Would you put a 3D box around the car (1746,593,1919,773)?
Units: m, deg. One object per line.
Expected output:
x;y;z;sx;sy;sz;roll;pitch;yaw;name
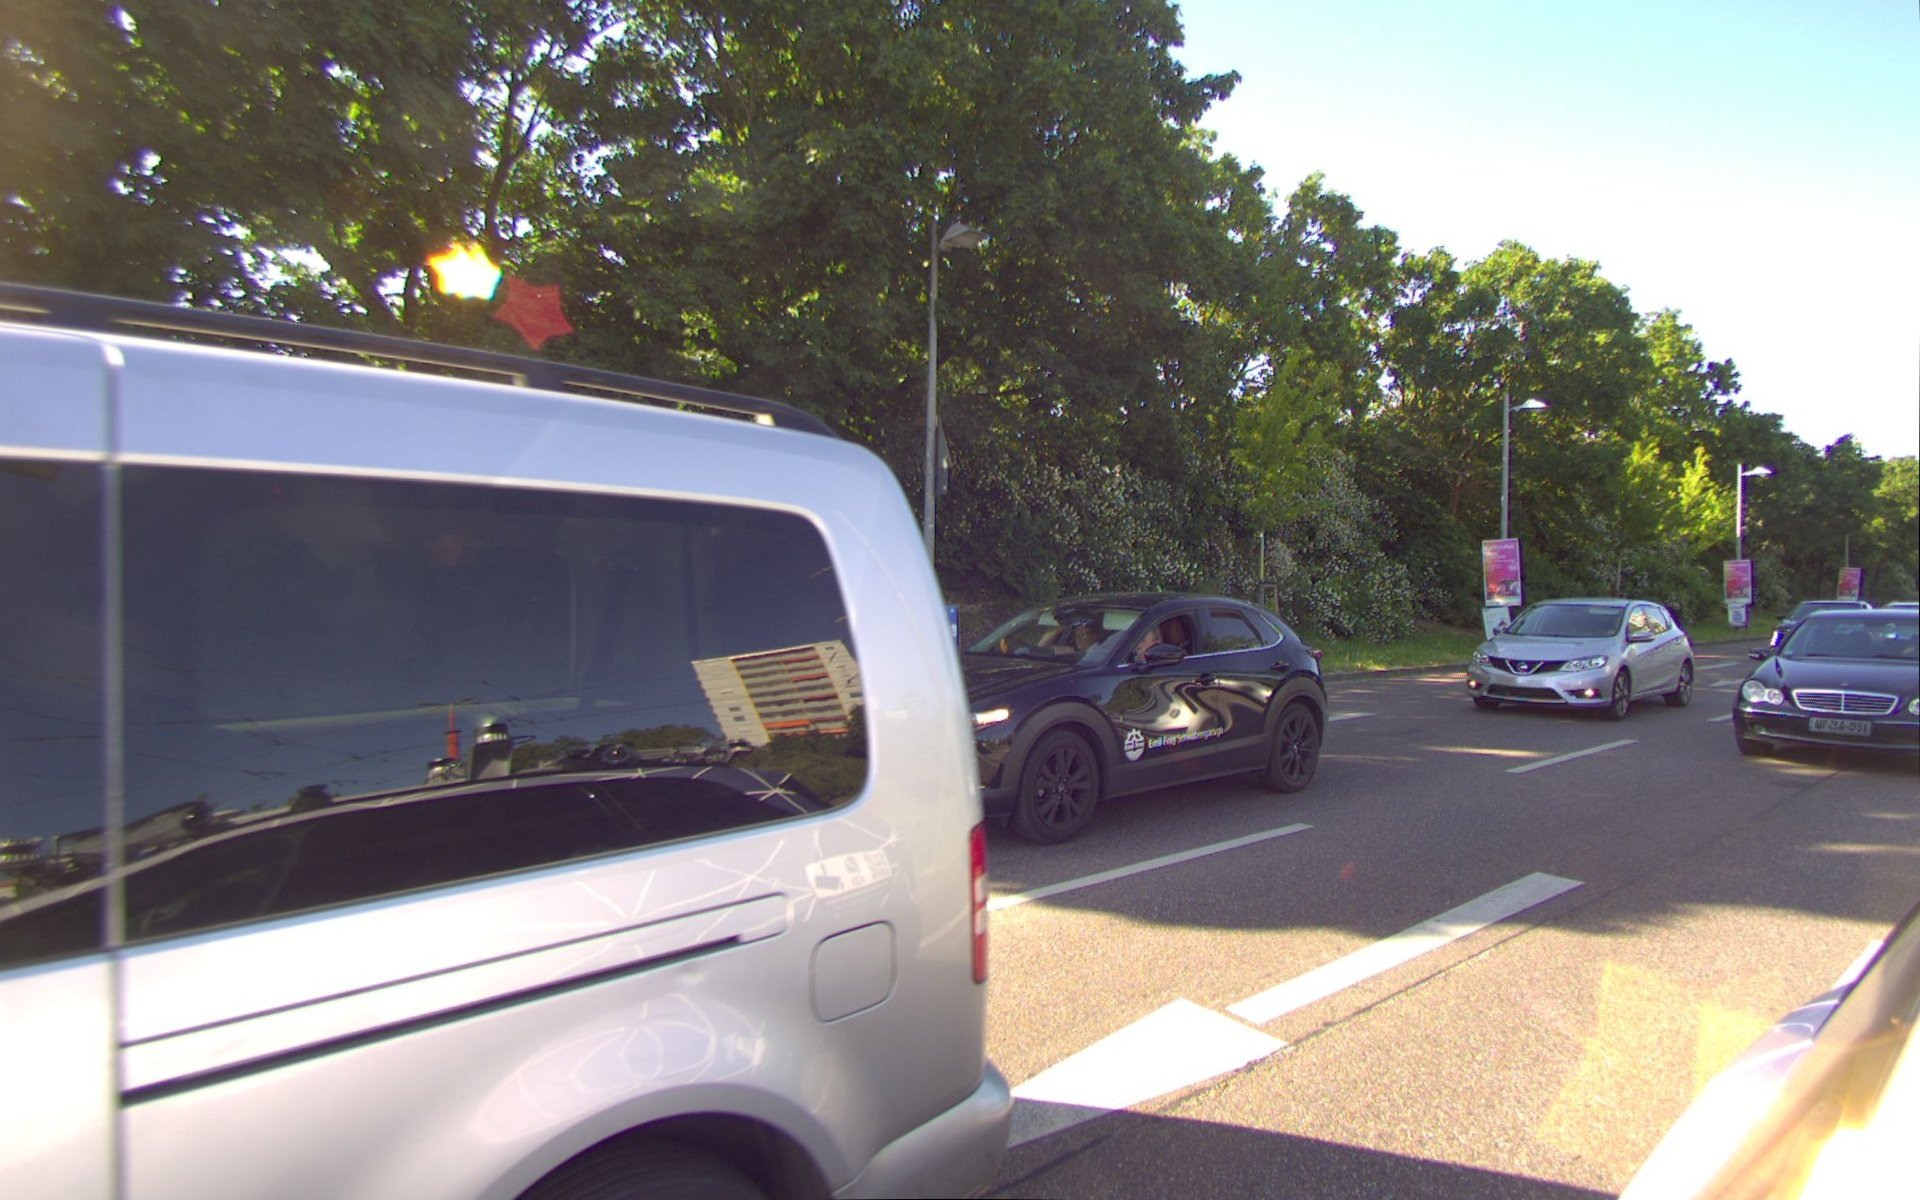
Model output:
9.338;0.700;10.076;4.126;1.472;1.715;0;1;-43;car

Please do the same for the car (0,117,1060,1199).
-2.107;0.445;1.198;4.505;1.844;1.808;-1;1;-40;car

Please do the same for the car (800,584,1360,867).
1.067;0.654;7.485;4.151;1.527;1.771;-1;0;-40;car

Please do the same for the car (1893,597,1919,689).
16.930;0.684;16.768;3.979;1.437;1.722;0;1;-41;car

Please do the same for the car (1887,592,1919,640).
31.414;0.492;32.619;4.309;1.454;1.748;-1;1;-40;car

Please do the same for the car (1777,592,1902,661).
21.185;0.565;24.330;3.894;1.512;1.713;0;1;-40;car

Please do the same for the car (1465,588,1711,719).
8.702;0.624;13.902;4.064;1.536;1.725;0;0;-40;car
